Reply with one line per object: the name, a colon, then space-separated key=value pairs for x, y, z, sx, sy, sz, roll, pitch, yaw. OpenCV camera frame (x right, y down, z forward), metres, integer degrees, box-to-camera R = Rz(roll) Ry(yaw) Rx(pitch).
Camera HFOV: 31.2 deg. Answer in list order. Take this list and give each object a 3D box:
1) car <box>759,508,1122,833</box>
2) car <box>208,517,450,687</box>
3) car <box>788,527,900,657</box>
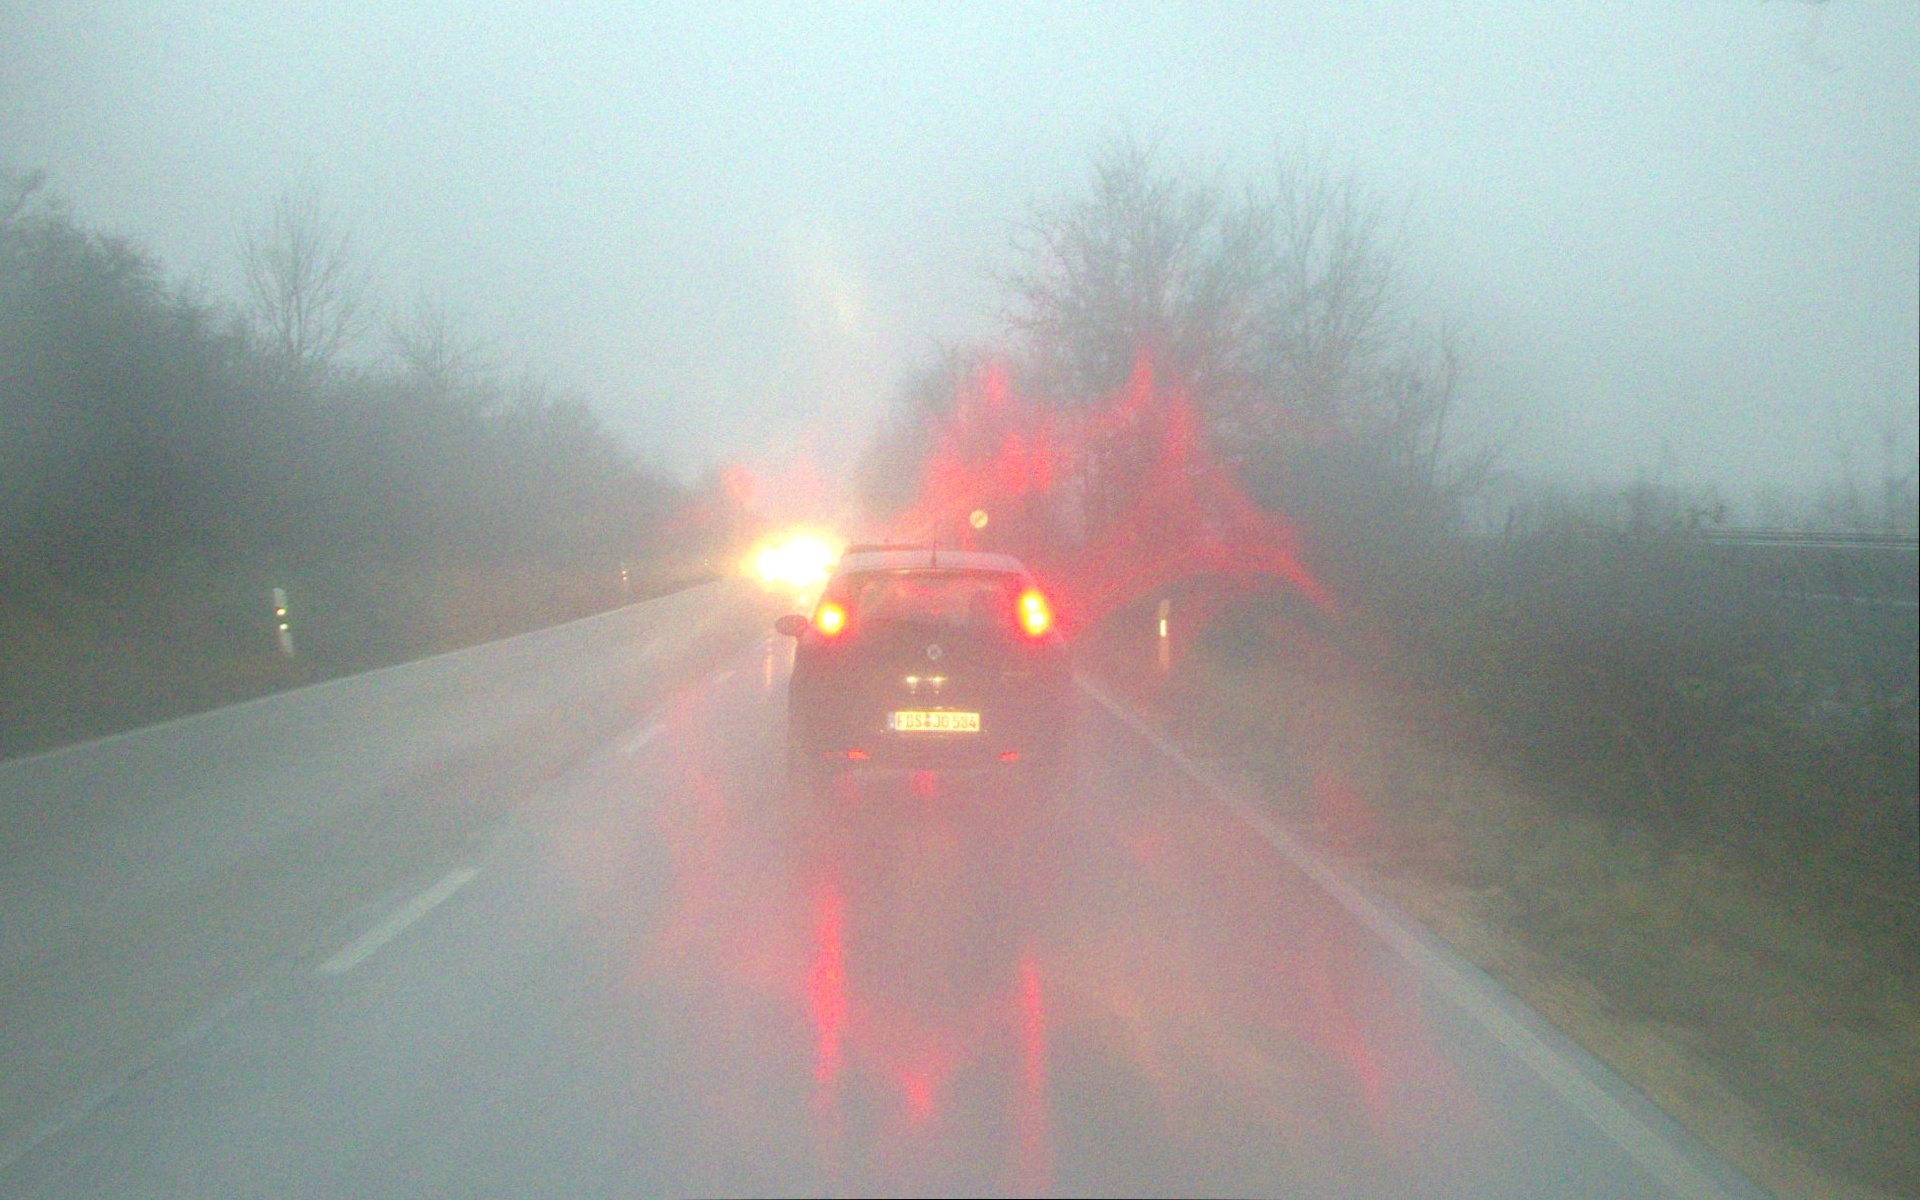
car: x=-0.130 y=0.368 z=21.149 sx=1.993 sy=1.778 sz=4.000 roll=1 pitch=1 yaw=-1
car: x=-6.990 y=-0.005 z=38.455 sx=1.993 sy=1.778 sz=4.000 roll=1 pitch=1 yaw=-1
car: x=-1.719 y=-0.146 z=51.849 sx=1.574 sy=1.868 sz=3.709 roll=1 pitch=1 yaw=-1
